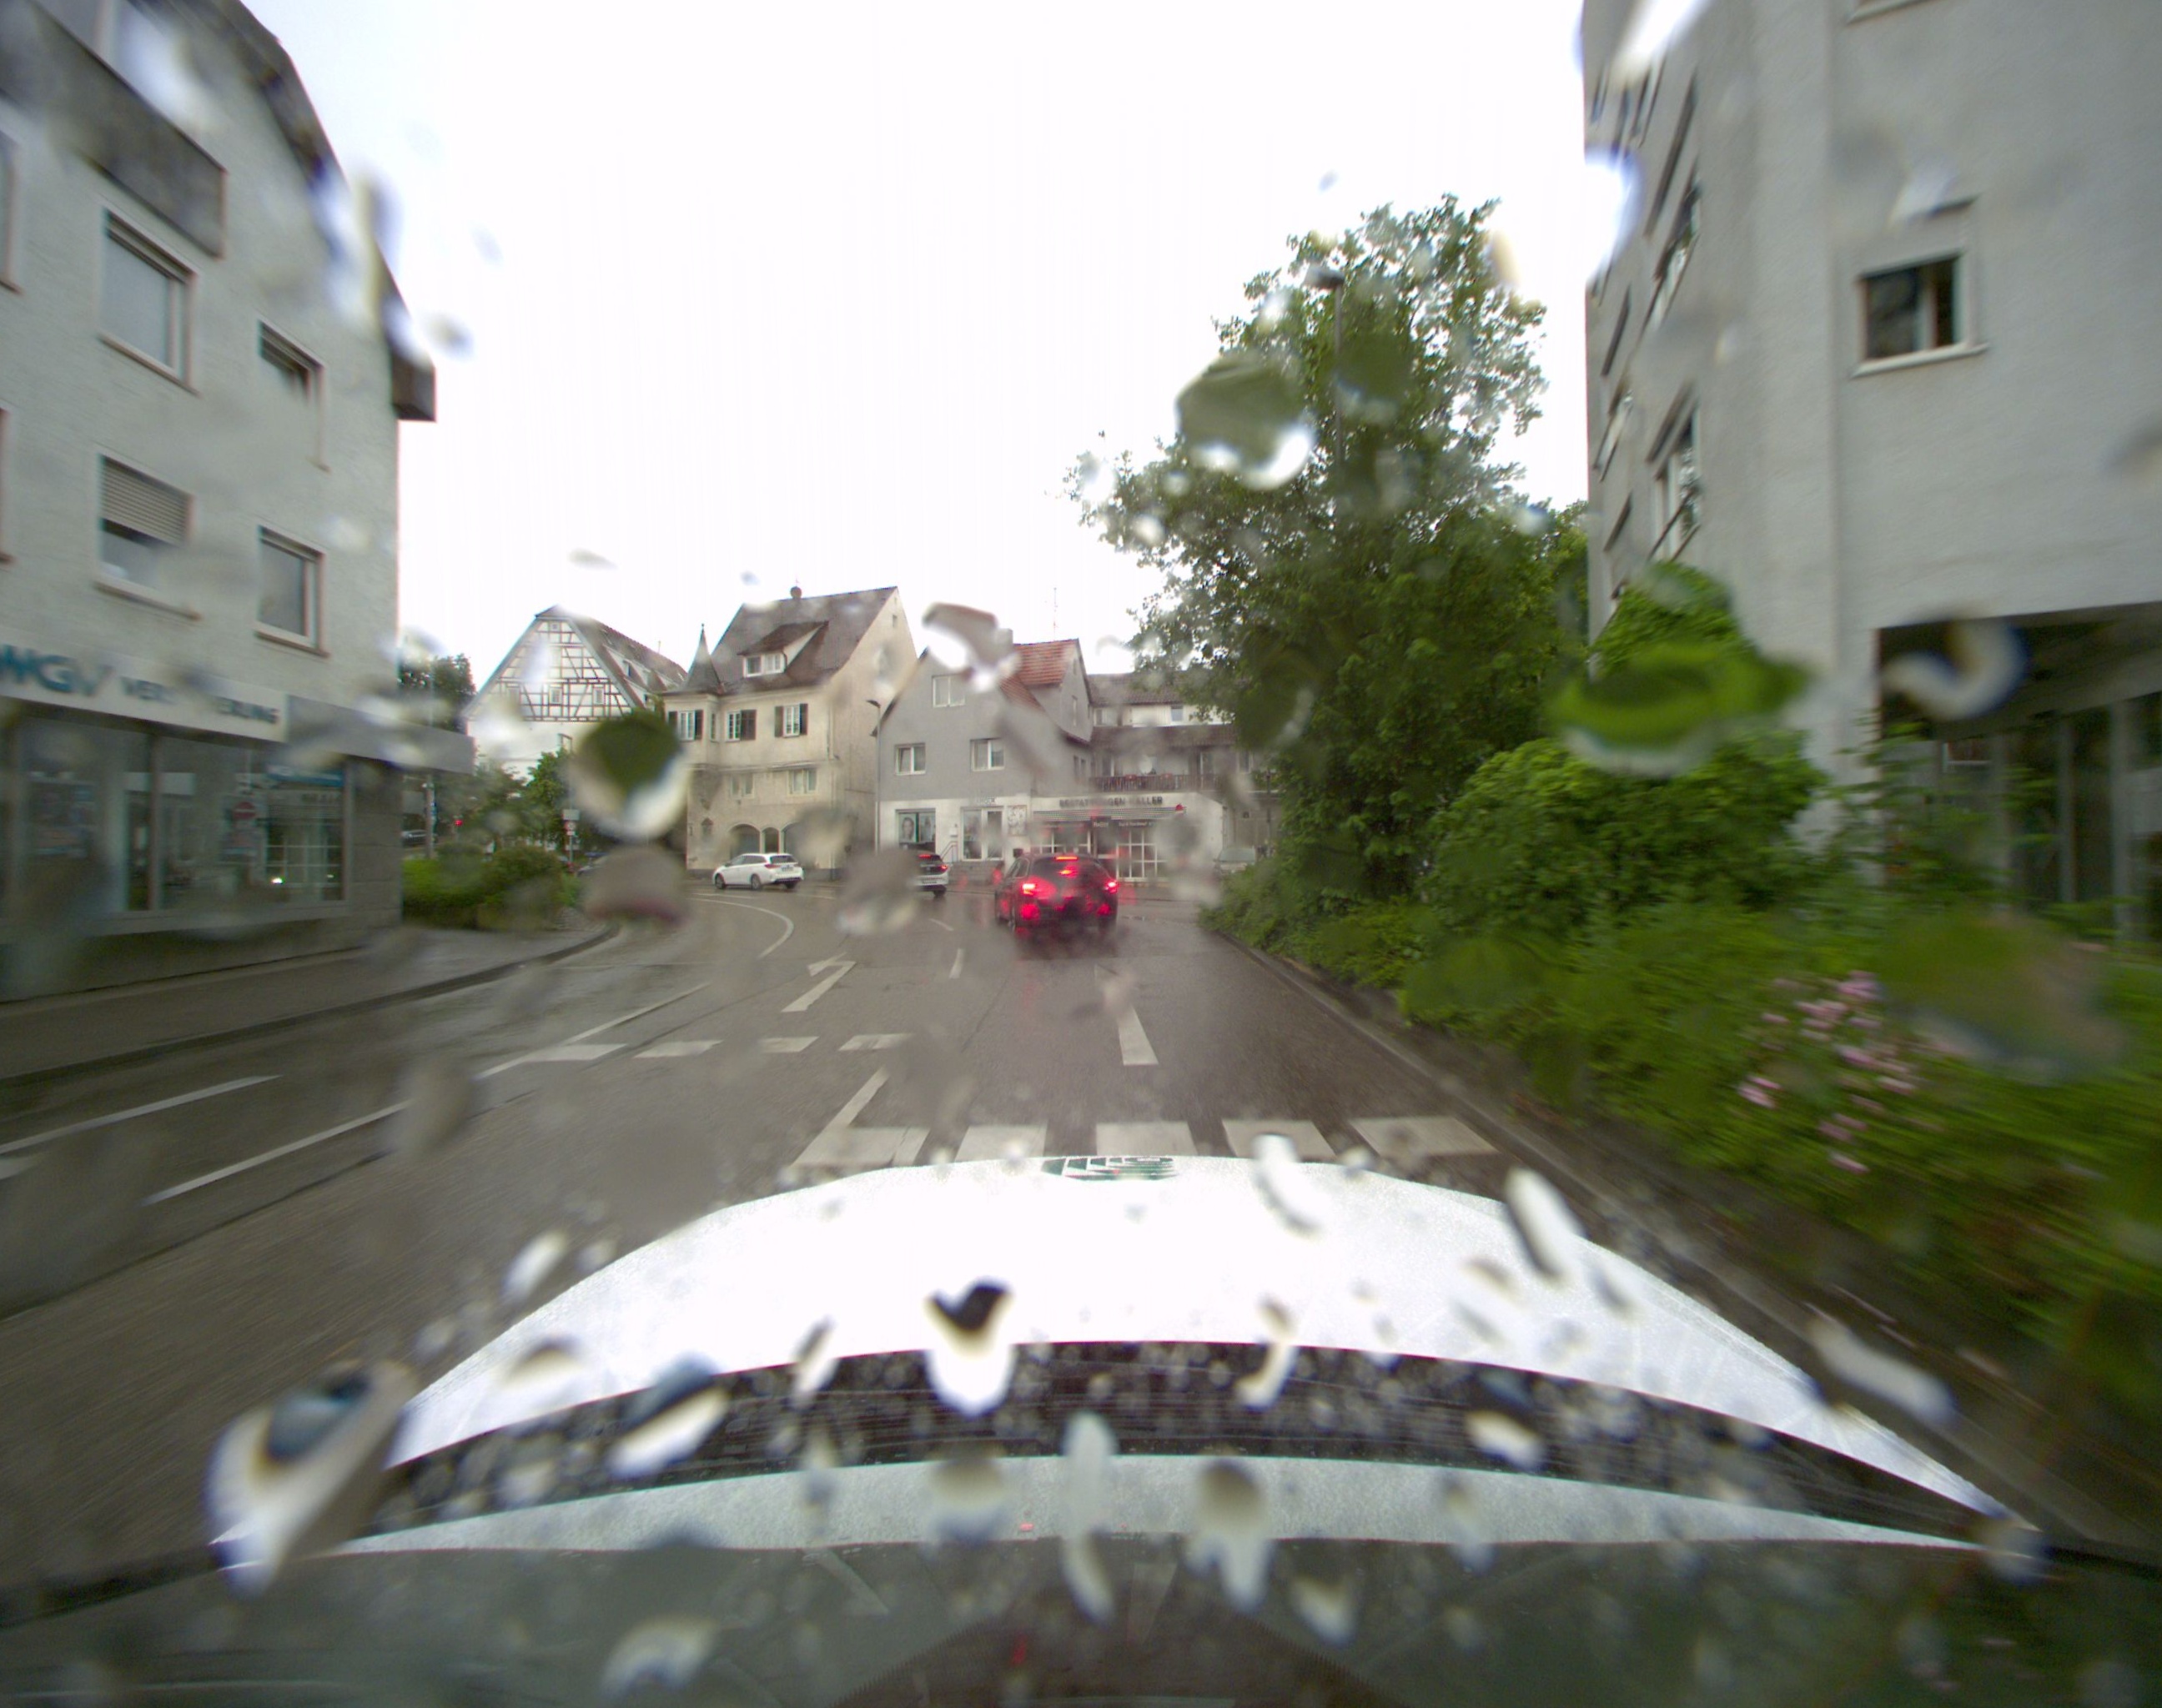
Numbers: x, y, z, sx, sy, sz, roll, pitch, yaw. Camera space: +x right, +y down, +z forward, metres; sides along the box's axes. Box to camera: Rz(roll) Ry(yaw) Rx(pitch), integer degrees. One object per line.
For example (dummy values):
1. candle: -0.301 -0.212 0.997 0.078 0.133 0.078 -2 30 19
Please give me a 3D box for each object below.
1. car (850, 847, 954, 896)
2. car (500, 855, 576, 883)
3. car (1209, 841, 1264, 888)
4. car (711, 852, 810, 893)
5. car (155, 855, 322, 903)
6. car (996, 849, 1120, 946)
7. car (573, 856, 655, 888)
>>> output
1. car: -6.210 0.548 27.945 1.803 1.517 4.193 -2 1 -38
2. car: -27.637 0.745 41.418 3.578 1.312 1.678 0 2 27
3. car: 6.420 0.359 33.208 1.910 1.727 4.687 -1 1 14
4. car: -13.159 0.713 33.365 4.110 1.465 1.803 1 2 36
5. car: -28.196 0.795 27.416 1.698 1.455 3.545 0 1 7
6. car: -0.573 0.675 15.196 1.732 1.450 4.227 -1 1 -10
7. car: -22.020 0.829 38.385 3.720 1.361 1.533 0 2 27
